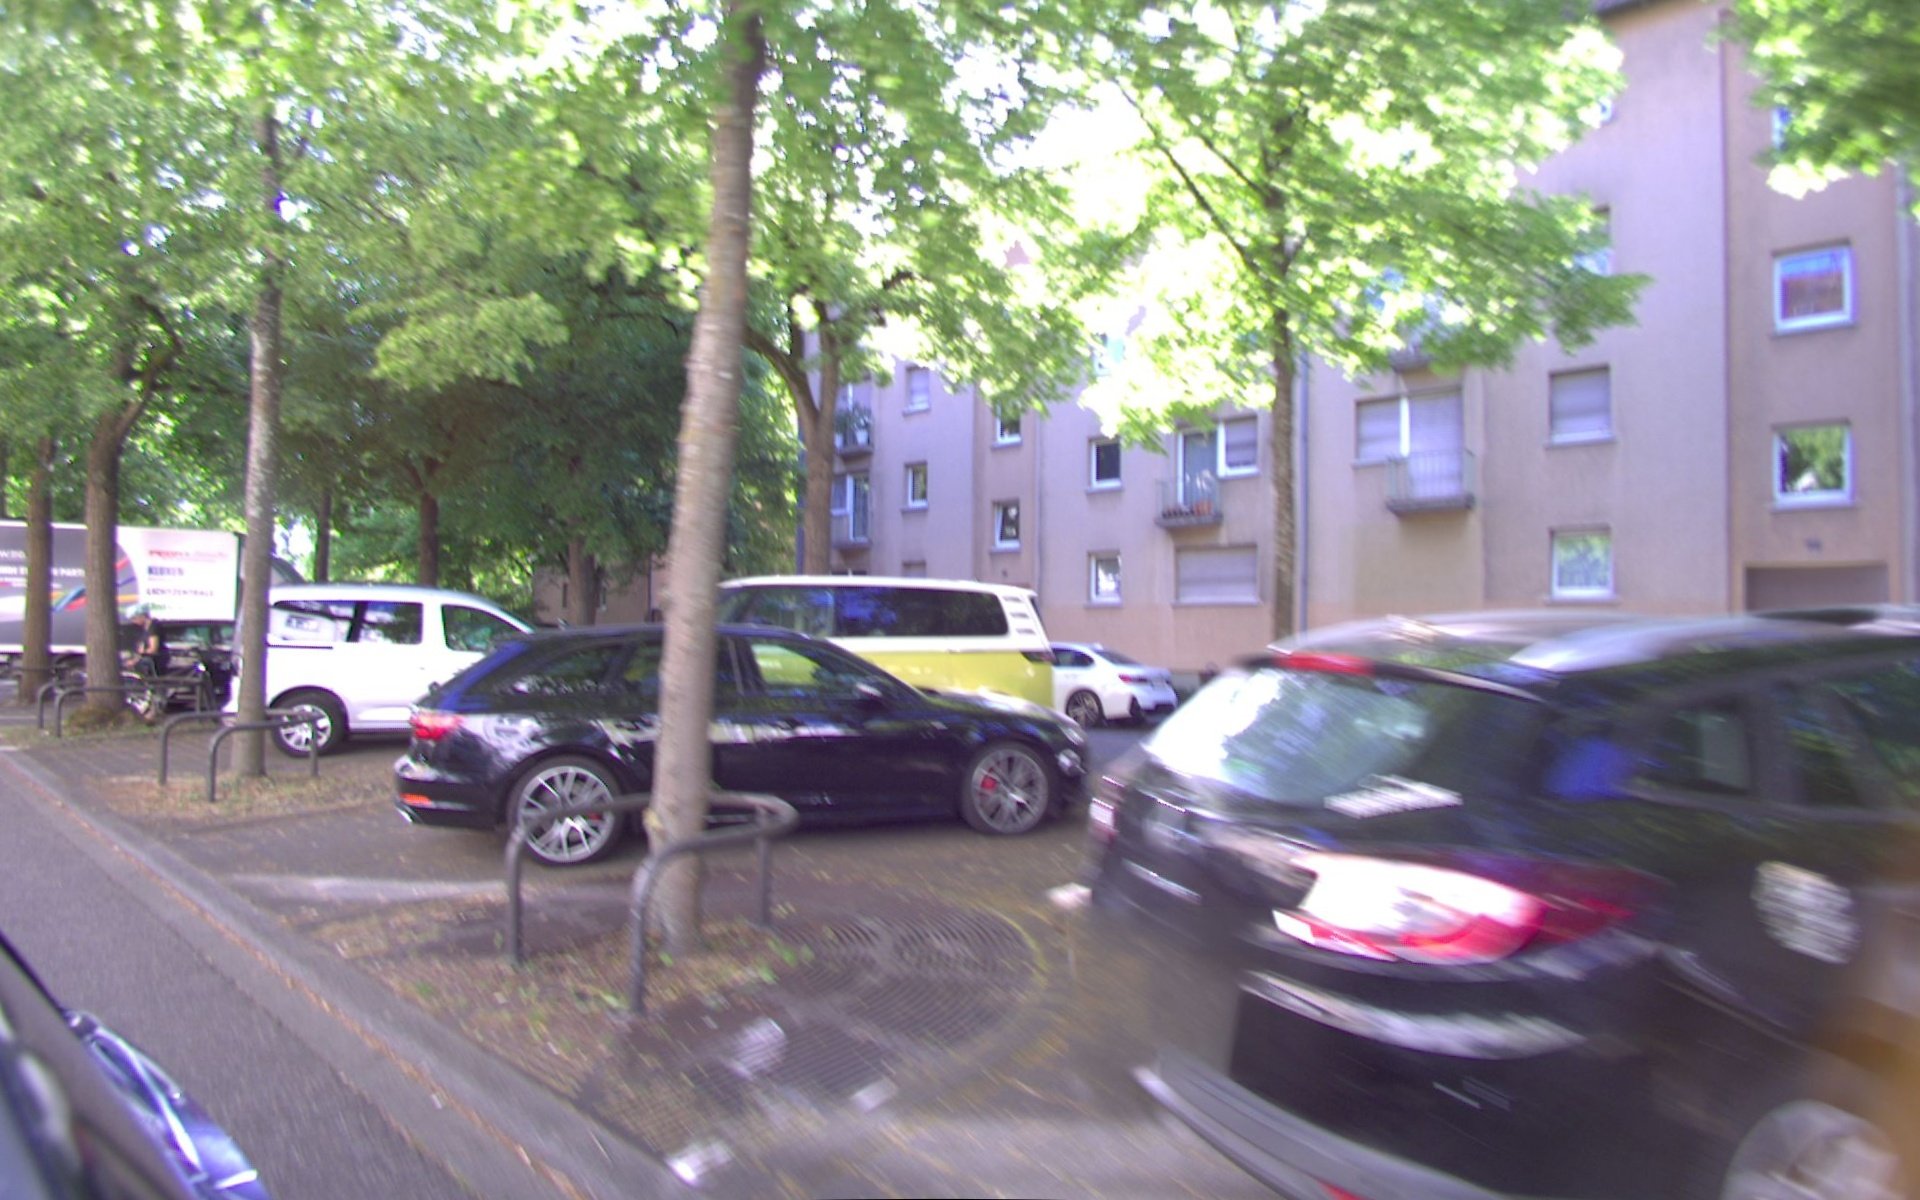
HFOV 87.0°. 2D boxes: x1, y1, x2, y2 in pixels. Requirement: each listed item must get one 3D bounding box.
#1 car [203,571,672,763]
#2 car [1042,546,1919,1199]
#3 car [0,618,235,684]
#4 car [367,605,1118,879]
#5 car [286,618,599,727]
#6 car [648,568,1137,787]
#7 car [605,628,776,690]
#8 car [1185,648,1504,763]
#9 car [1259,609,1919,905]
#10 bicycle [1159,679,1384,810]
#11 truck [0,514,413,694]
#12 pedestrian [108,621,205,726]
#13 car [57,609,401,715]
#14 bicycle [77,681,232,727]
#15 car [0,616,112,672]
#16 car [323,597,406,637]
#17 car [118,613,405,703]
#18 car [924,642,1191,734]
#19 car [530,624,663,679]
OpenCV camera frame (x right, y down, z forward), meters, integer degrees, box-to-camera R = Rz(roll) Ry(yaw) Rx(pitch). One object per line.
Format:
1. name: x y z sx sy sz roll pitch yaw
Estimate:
1. car: -5.788 0.694 11.768 4.445 1.879 2.088 0 -1 -24
2. car: 2.581 0.694 2.824 4.348 1.473 1.721 1 -1 -16
3. car: -20.613 1.227 24.780 4.270 1.518 1.819 1 -2 -15
4. car: -1.327 0.811 6.940 4.413 1.466 1.793 1 -2 -17
5. car: -7.237 0.973 14.542 3.737 1.417 1.628 0 -1 -15
6. car: -0.721 0.725 10.257 4.526 1.846 2.025 2 -2 -20
7. car: -6.820 1.451 25.450 4.333 1.446 1.749 -1 -4 35
8. car: 5.557 1.442 14.887 3.998 1.398 1.872 -1 -3 41
9. car: 3.966 0.822 6.305 3.573 1.466 1.822 1 -2 -12
10. bicycle: 2.606 1.182 8.587 1.763 0.947 0.432 -1 -1 36
11. truck: -15.479 0.159 20.639 7.200 3.319 2.554 1 -2 -18
12. pedestrian: -11.191 1.006 14.129 0.740 1.407 0.931 1 -2 -17
13. car: -11.257 0.910 15.933 4.038 1.518 1.738 0 -1 -17
14. bicycle: -10.881 1.396 13.714 1.586 0.563 0.411 1 -2 -18
15. car: -30.198 1.429 32.426 4.262 1.684 1.843 -1 -1 -19
16. car: -24.019 0.717 40.757 3.947 1.523 1.735 -1 -2 41
17. car: -12.581 0.999 18.528 3.931 1.514 1.854 0 -1 -17
18. car: 1.649 1.494 18.177 4.612 1.403 1.710 -1 -3 40
19. car: -10.465 1.430 28.986 4.342 1.446 1.745 -1 -2 42
